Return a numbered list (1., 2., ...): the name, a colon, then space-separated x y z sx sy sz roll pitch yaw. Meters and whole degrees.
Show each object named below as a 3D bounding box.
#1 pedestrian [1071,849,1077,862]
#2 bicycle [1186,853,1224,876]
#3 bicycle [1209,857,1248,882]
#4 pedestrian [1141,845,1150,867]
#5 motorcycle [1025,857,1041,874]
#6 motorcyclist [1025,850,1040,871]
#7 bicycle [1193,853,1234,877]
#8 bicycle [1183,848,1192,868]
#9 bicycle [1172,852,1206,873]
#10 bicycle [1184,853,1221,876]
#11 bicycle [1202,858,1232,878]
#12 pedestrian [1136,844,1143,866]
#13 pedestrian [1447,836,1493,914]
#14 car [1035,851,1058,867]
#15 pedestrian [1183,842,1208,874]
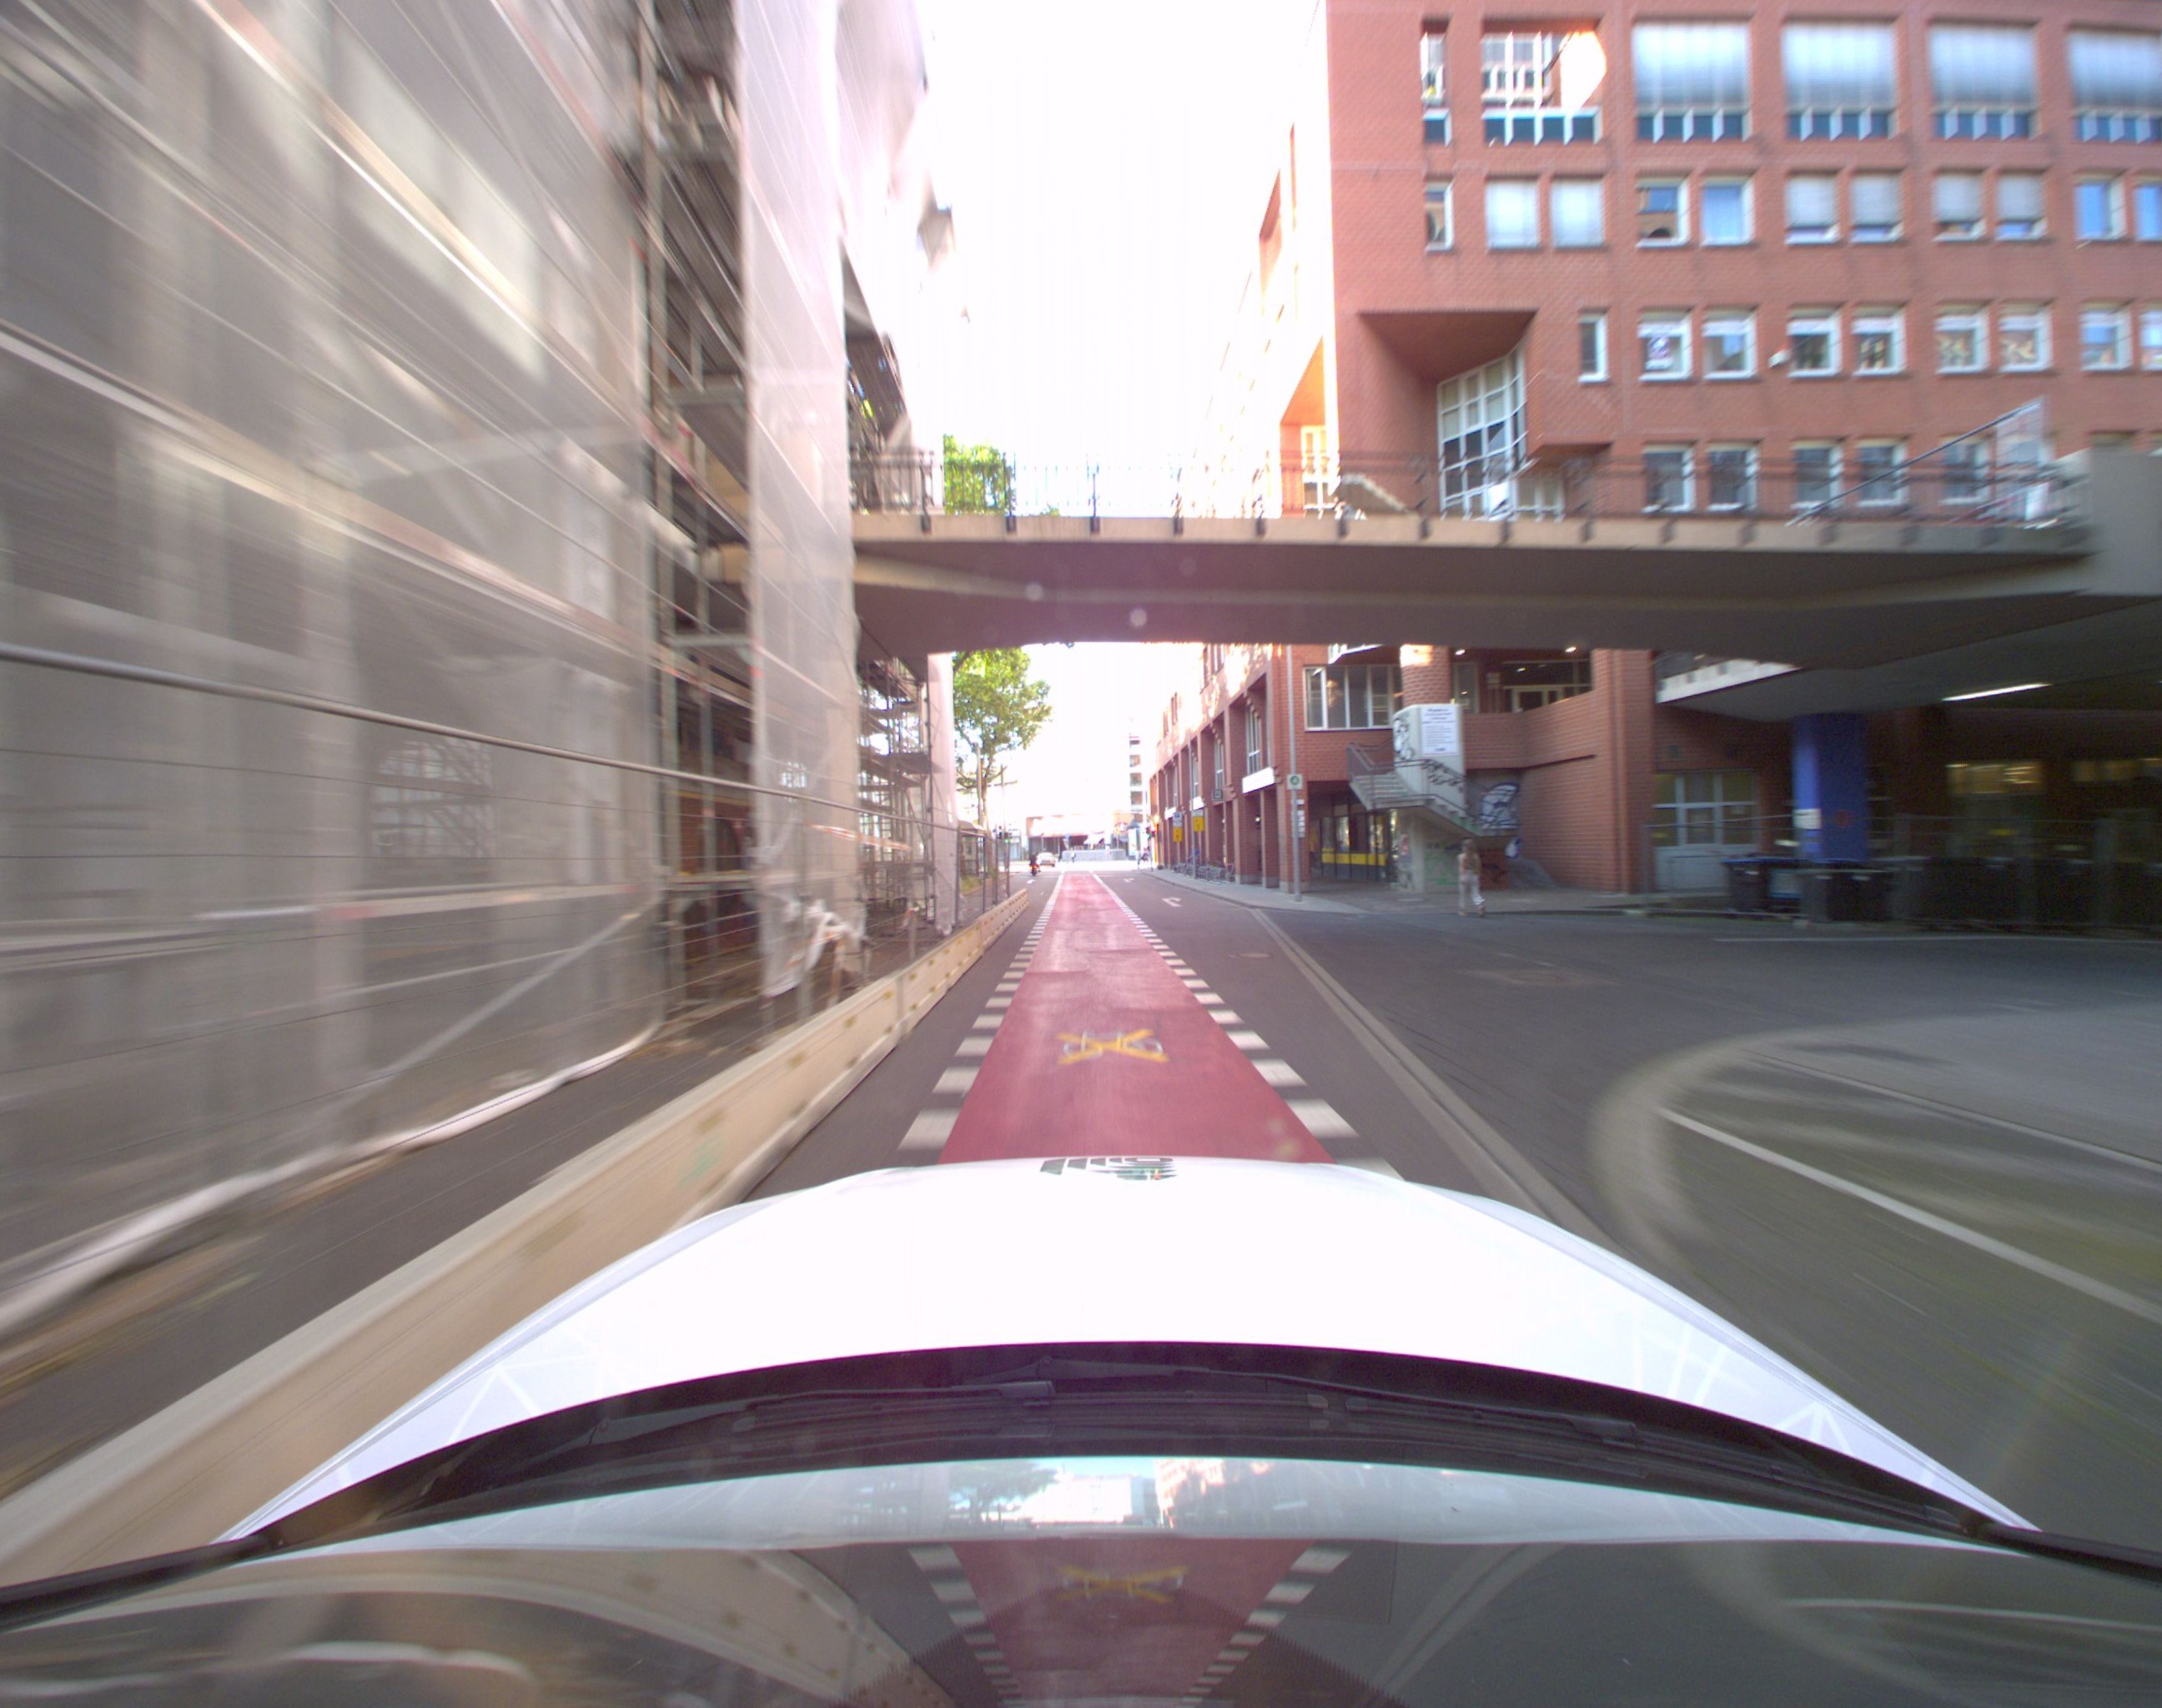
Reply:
1. pedestrian: -0.888 0.213 104.213 0.544 1.583 0.550 -3 0 -44
2. bicycle: 6.628 0.567 43.593 1.886 1.119 0.550 -3 0 -1
3. bicycle: 6.657 0.694 36.719 1.606 0.955 0.555 -5 0 0
4. pedestrian: 5.371 0.171 67.407 0.632 1.725 0.630 -2 0 -1
5. motorcycle: -3.274 0.766 55.786 0.970 1.131 2.803 -1 0 -1
6. motorcyclist: -3.292 0.435 55.804 0.968 1.347 1.137 -1 0 -2
7. bicycle: 6.673 0.548 40.957 1.925 1.057 0.573 -4 0 2
8. bicycle: 6.689 0.235 51.161 0.338 1.183 1.678 -3 1 1
9. bicycle: 6.342 0.494 47.732 1.886 1.119 0.474 -3 0 -1
10. bicycle: 6.602 0.552 44.200 1.886 1.119 0.474 -3 0 -1
11. bicycle: 6.569 0.673 39.468 1.329 0.841 0.425 -5 0 0
12. pedestrian: 4.839 0.113 67.445 0.474 1.792 0.541 -2 0 -1
13. pedestrian: 8.351 0.435 17.497 0.567 1.633 0.777 -2 0 -2
14. car: -3.460 0.484 80.967 1.922 1.388 3.989 -2 1 -8
15. pedestrian: 6.475 0.213 45.968 1.190 1.696 0.886 -5 0 2
